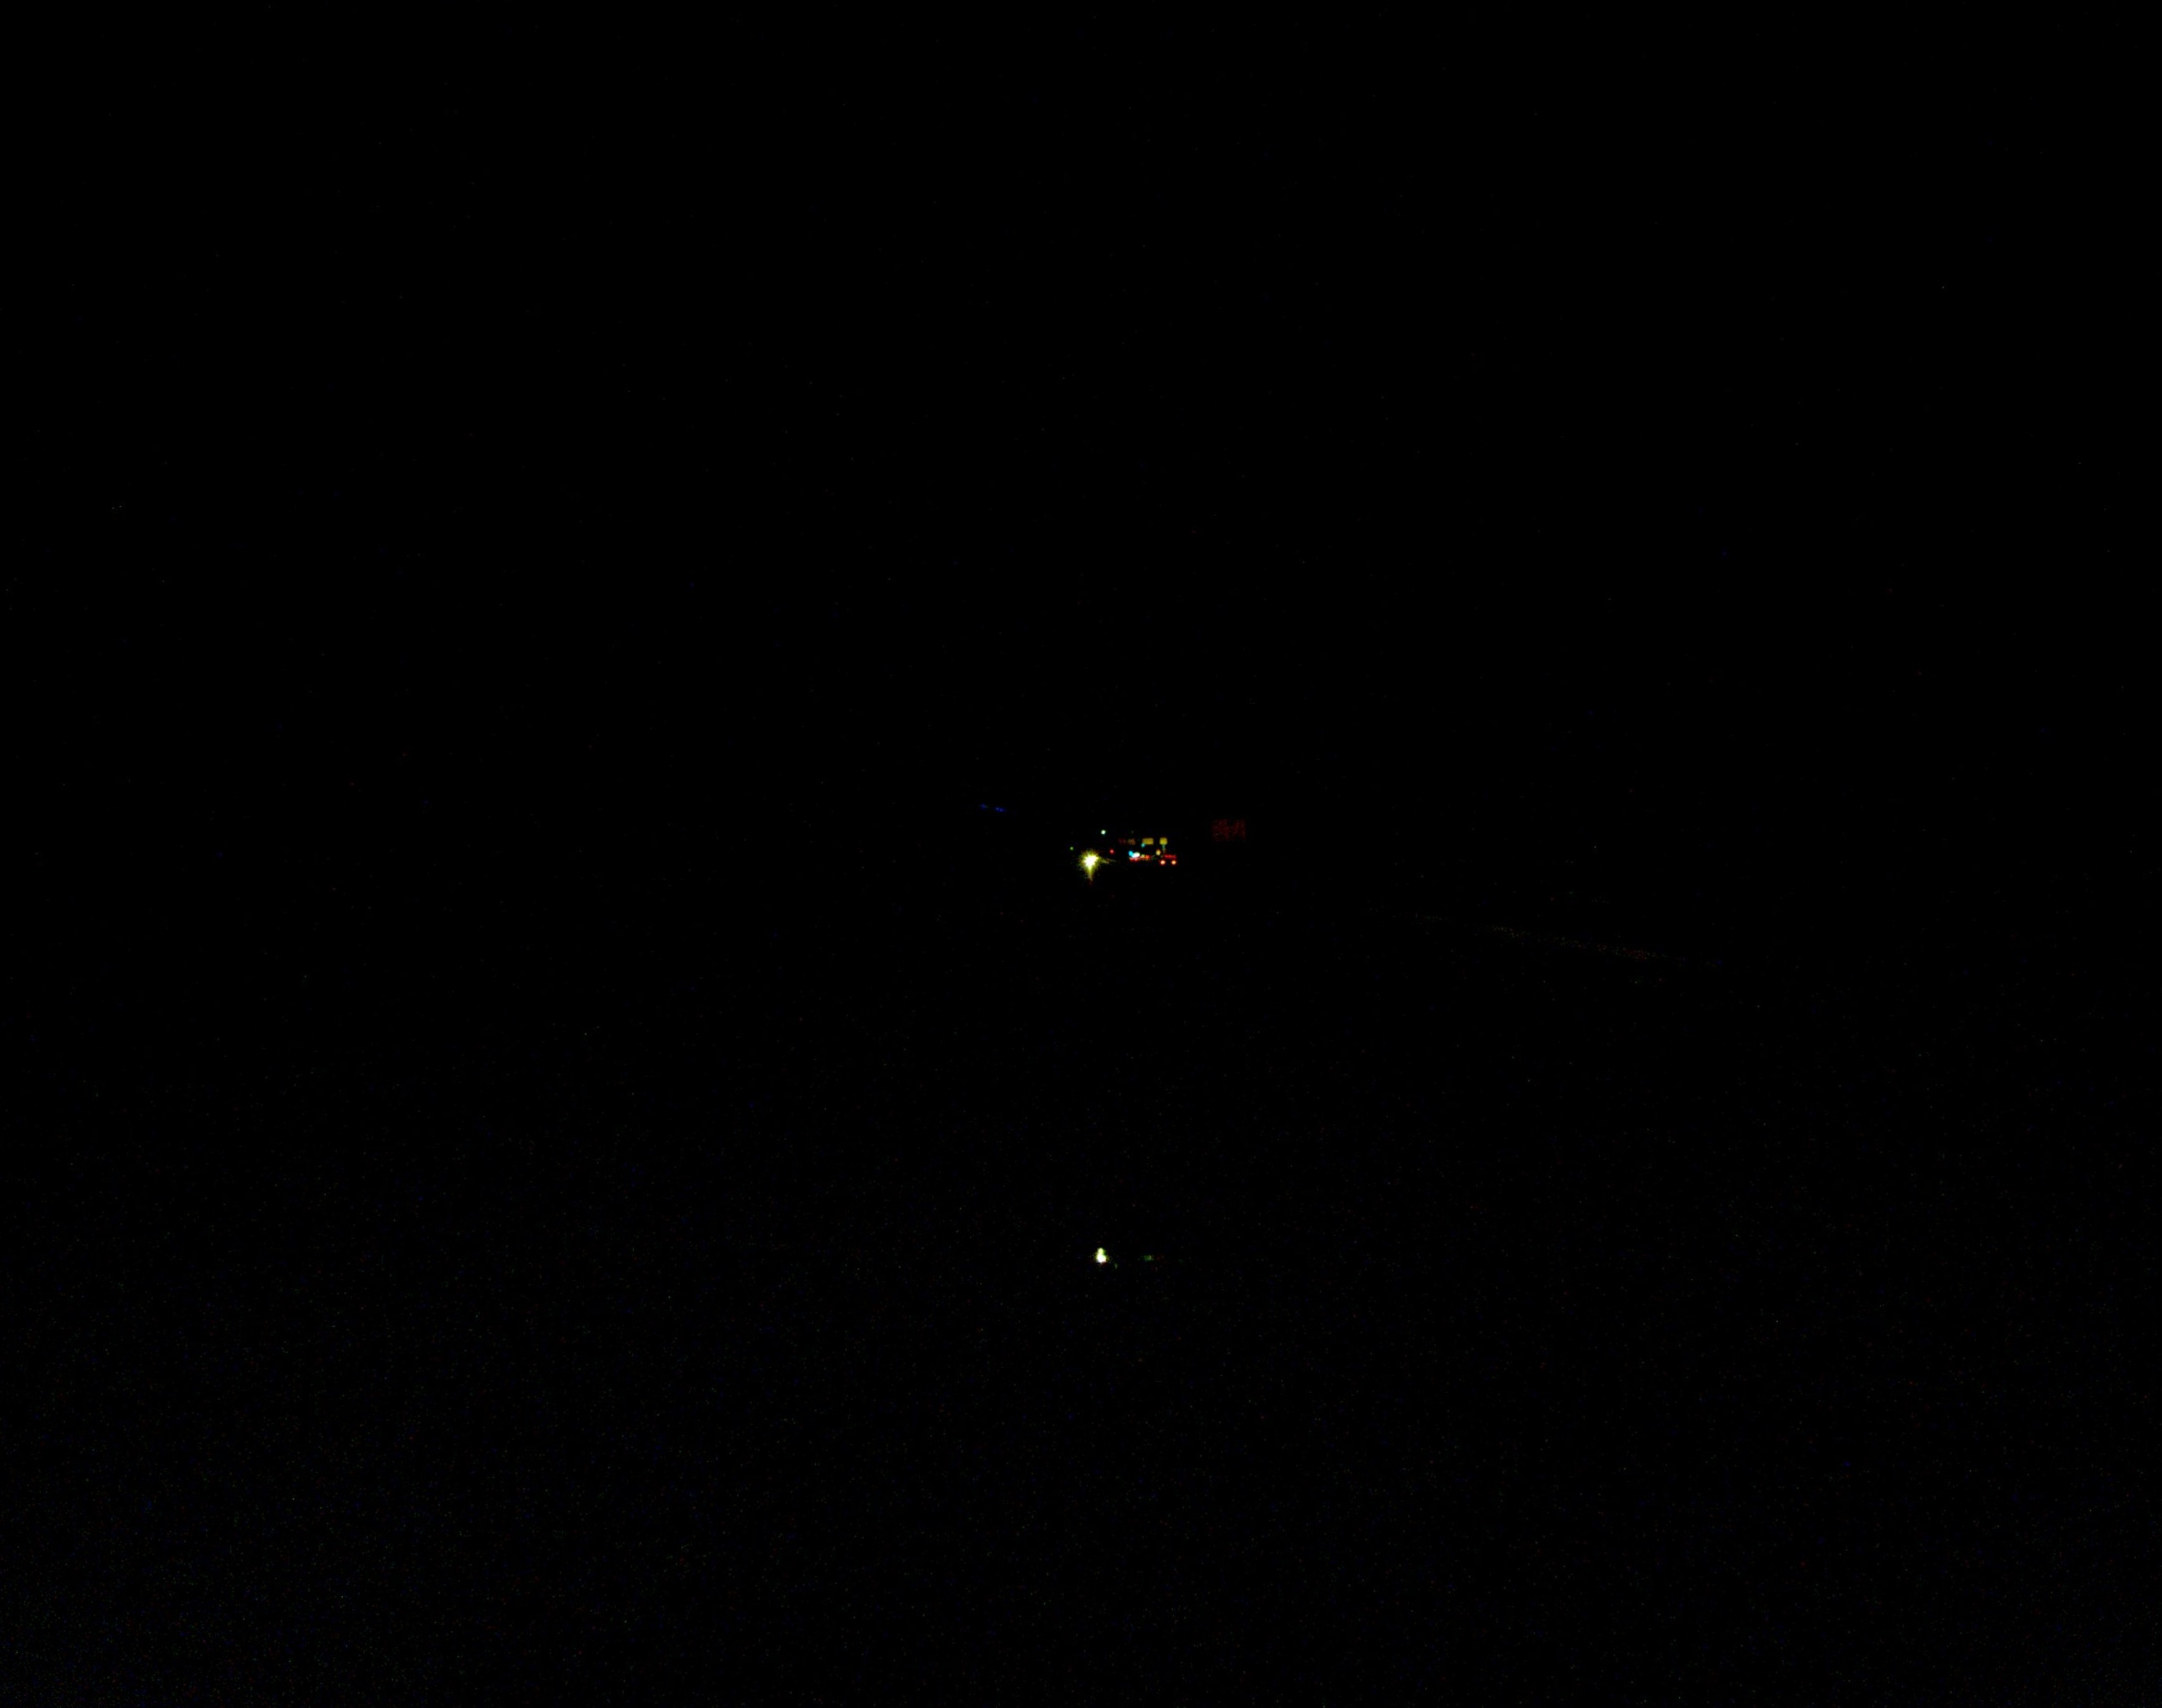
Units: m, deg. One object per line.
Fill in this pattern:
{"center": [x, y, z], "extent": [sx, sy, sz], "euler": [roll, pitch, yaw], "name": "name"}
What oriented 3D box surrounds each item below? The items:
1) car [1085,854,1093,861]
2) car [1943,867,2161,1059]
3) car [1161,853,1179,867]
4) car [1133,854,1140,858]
{"center": [1.594, 0.651, 153.307], "extent": [1.570, 1.336, 4.166], "euler": [-2, 0, 0], "name": "car"}
{"center": [9.795, 0.933, 5.984], "extent": [1.621, 1.498, 3.868], "euler": [-2, 1, 0], "name": "car"}
{"center": [10.868, 0.699, 92.870], "extent": [1.687, 1.578, 4.166], "euler": [-2, 0, 0], "name": "car"}
{"center": [17.097, 0.618, 235.092], "extent": [1.724, 1.399, 4.574], "euler": [-2, 1, 0], "name": "car"}
